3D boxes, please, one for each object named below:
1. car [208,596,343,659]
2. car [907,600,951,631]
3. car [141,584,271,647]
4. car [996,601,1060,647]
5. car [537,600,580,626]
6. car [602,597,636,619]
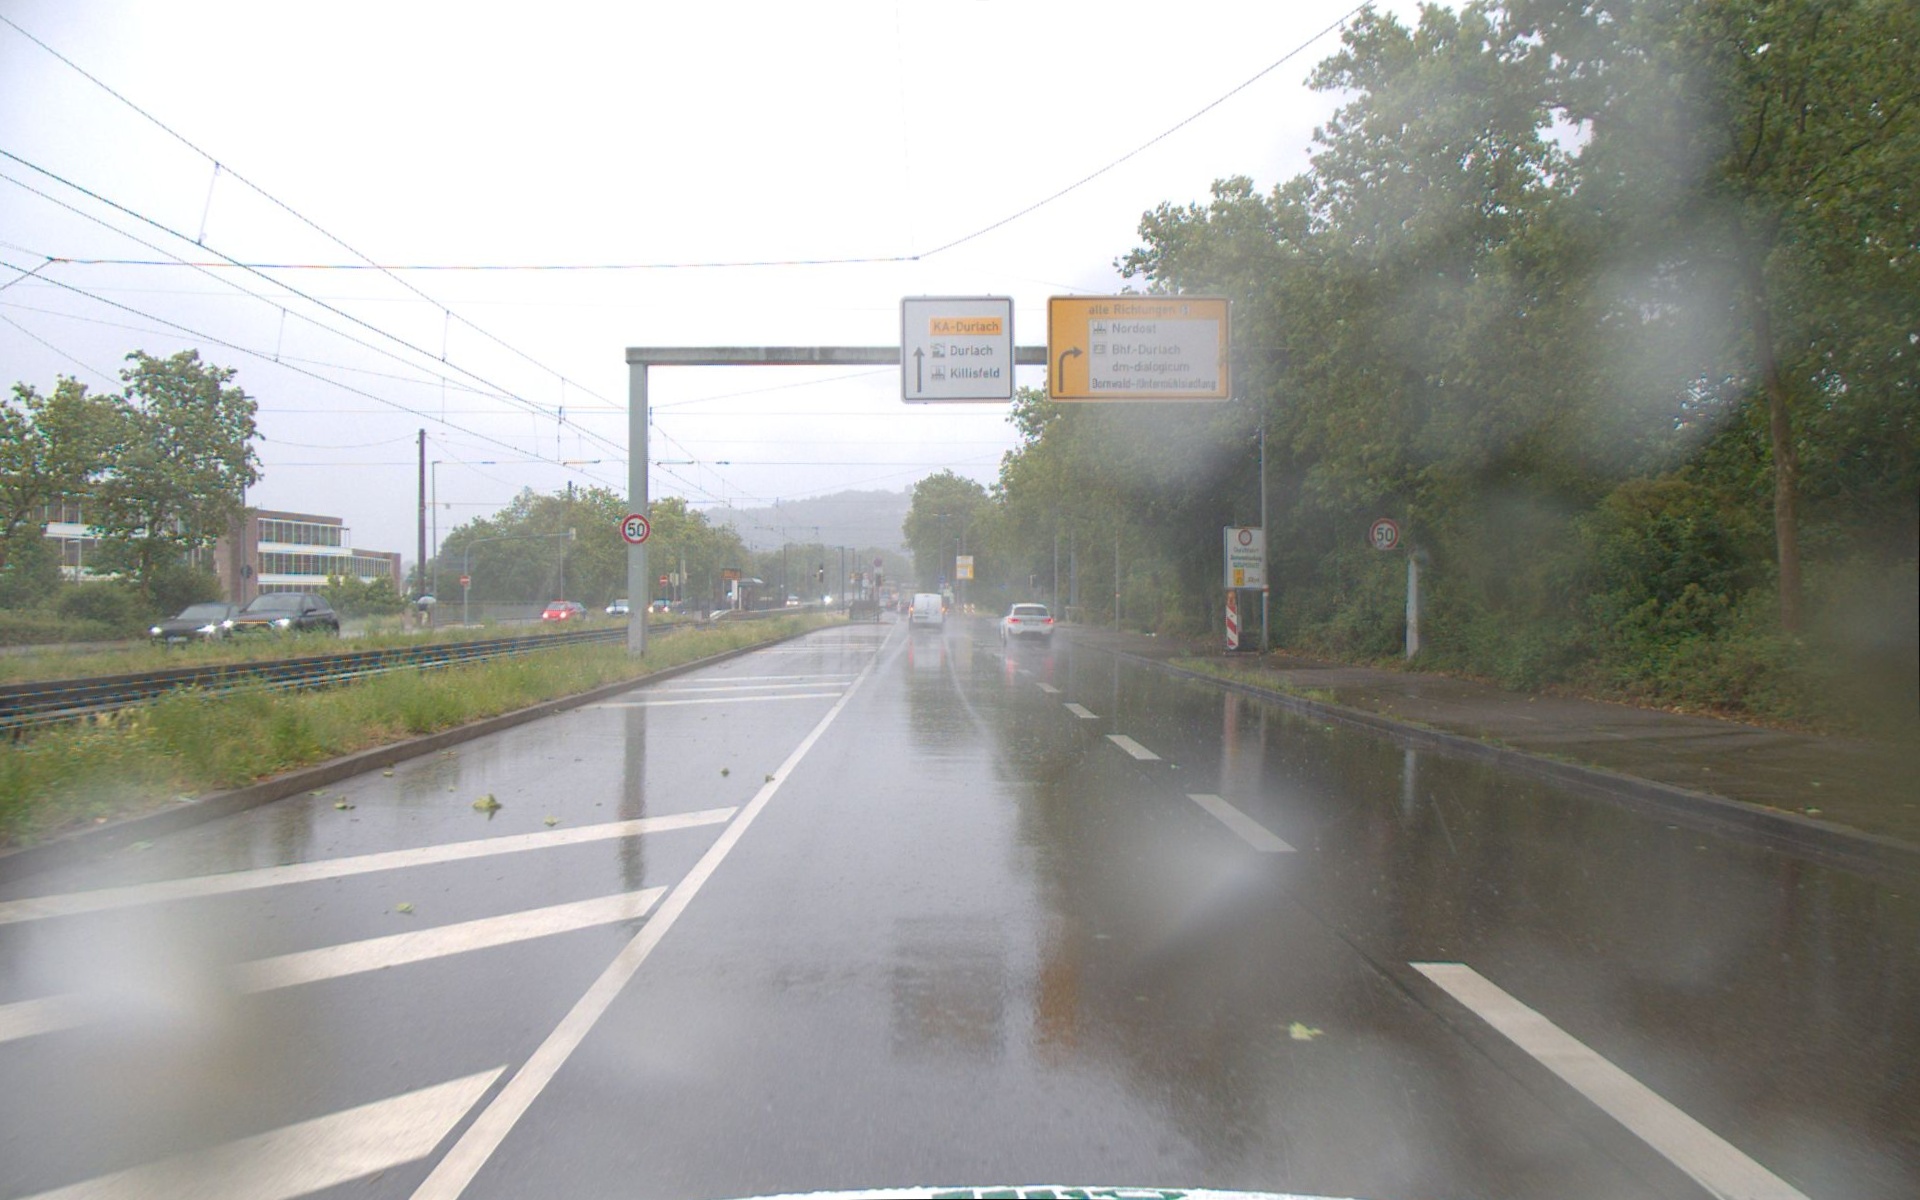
[{"bbox_3d":[-18.805,0.701,45.704,1.905,1.644,4.985,0,0,-4],"label":"car"},{"bbox_3d":[-1.505,0.730,78.827,2.035,1.445,3.999,0,0,-1],"label":"car"},{"bbox_3d":[-21.827,0.424,48.098,1.905,1.716,4.776,0,0,-4],"label":"car"},{"bbox_3d":[2.379,0.810,58.799,1.909,1.563,4.464,0,0,-2],"label":"car"},{"bbox_3d":[-23.612,0.766,97.481,1.686,1.520,3.998,0,0,-2],"label":"car"},{"bbox_3d":[-24.446,0.547,118.665,1.686,1.520,3.998,0,0,-2],"label":"car"}]
